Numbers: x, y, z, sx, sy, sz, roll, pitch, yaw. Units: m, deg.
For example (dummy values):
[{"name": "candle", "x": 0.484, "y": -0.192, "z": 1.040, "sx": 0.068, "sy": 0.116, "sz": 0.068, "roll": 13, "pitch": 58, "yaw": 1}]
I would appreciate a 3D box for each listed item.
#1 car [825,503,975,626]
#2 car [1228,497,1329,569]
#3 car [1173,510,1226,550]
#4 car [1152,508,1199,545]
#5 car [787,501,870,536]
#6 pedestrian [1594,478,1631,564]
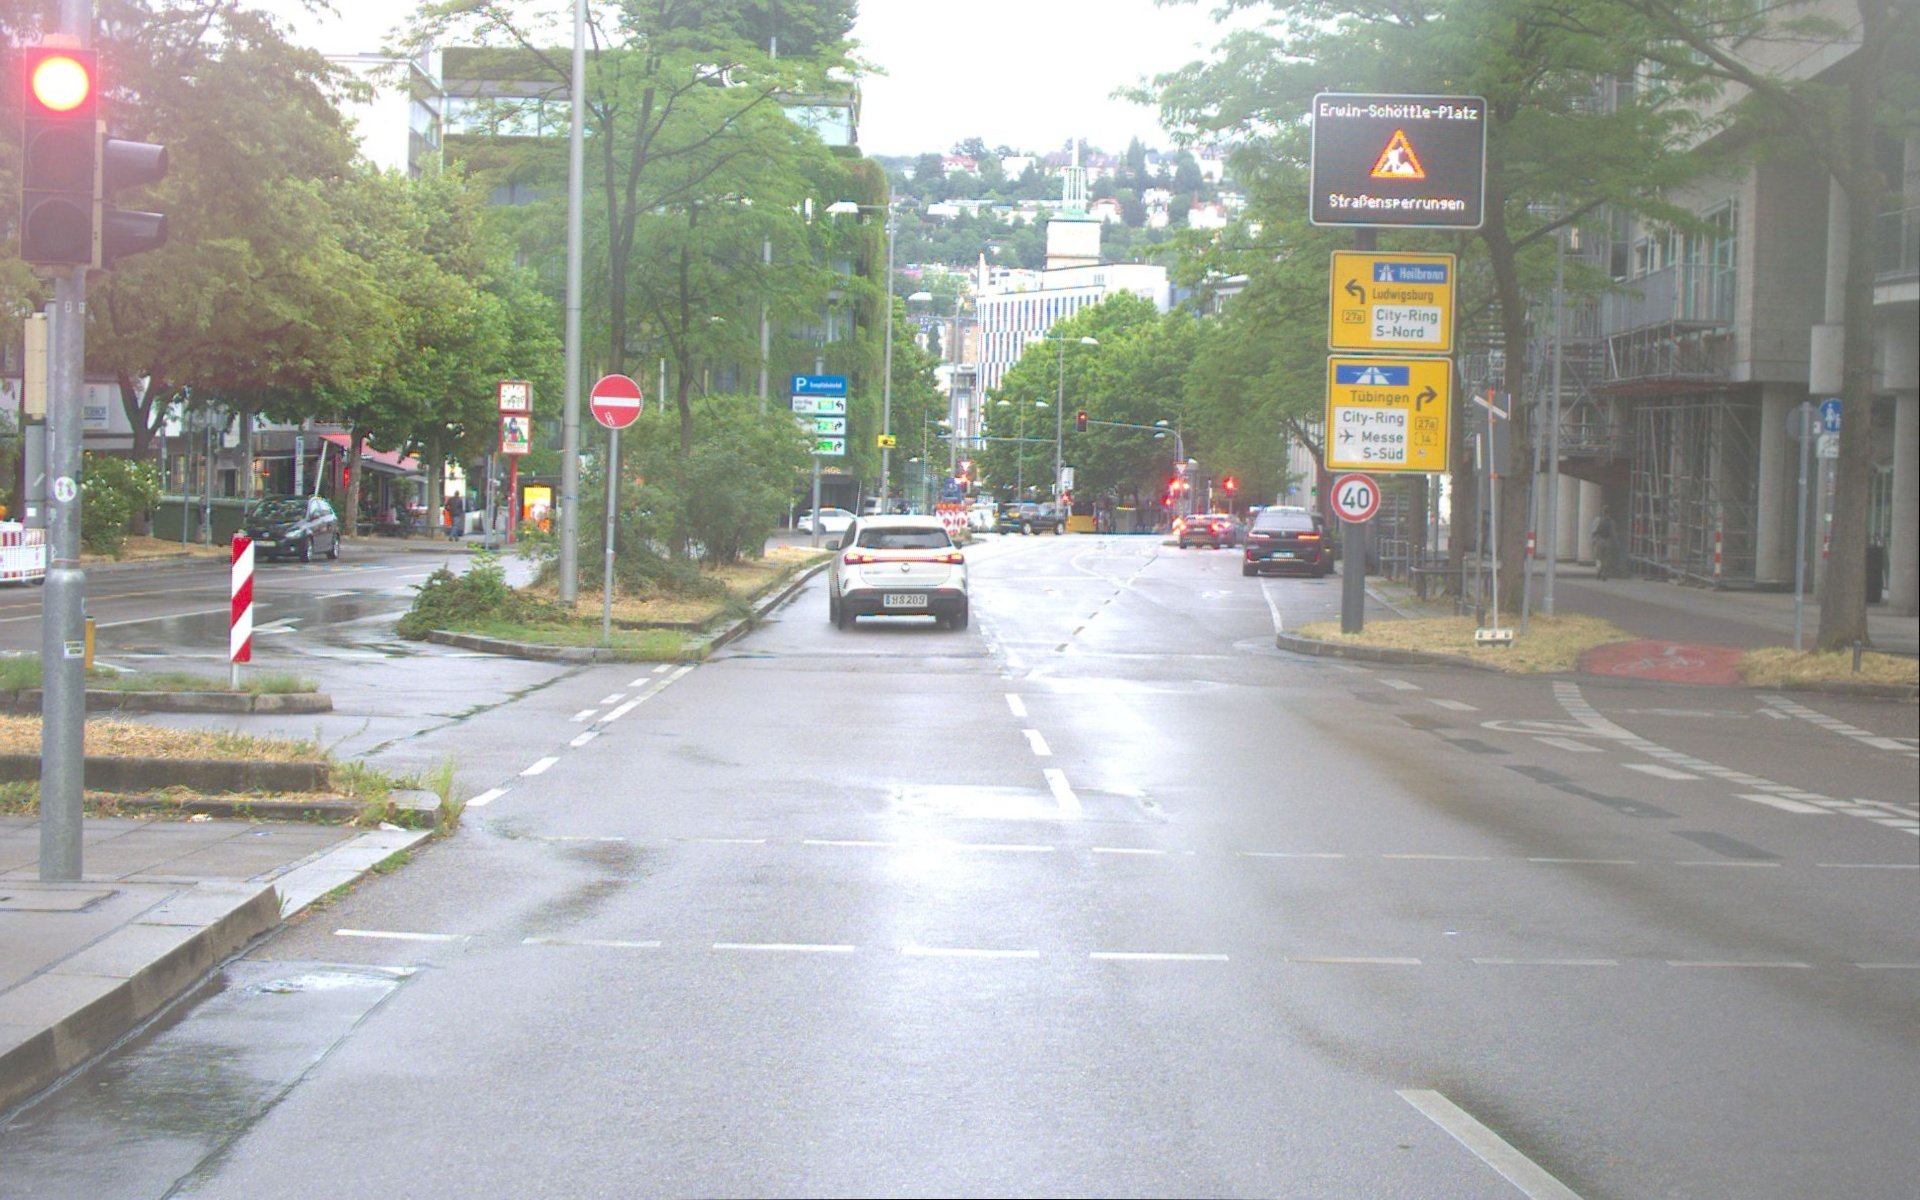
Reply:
[{"name": "car", "x": -0.918, "y": -0.531, "z": 49.876, "sx": 1.828, "sy": 1.634, "sz": 4.301, "roll": 2, "pitch": 1, "yaw": -5}, {"name": "car", "x": 7.752, "y": -1.638, "z": 83.417, "sx": 2.339, "sy": 1.685, "sz": 3.999, "roll": 1, "pitch": 2, "yaw": 6}, {"name": "car", "x": 10.729, "y": -3.148, "z": 154.441, "sx": 1.993, "sy": 1.718, "sz": 4.000, "roll": 1, "pitch": 0, "yaw": -1}, {"name": "car", "x": 10.445, "y": -3.542, "z": 166.793, "sx": 1.993, "sy": 1.730, "sz": 4.000, "roll": 1, "pitch": 0, "yaw": -1}, {"name": "car", "x": -7.138, "y": -4.410, "z": 186.120, "sx": 3.986, "sy": 1.752, "sz": 2.001, "roll": 2, "pitch": 1, "yaw": -20}, {"name": "pedestrian", "x": 14.713, "y": -1.786, "z": 77.496, "sx": 0.775, "sy": 1.914, "sz": 0.702, "roll": 1, "pitch": 0, "yaw": 10}]
